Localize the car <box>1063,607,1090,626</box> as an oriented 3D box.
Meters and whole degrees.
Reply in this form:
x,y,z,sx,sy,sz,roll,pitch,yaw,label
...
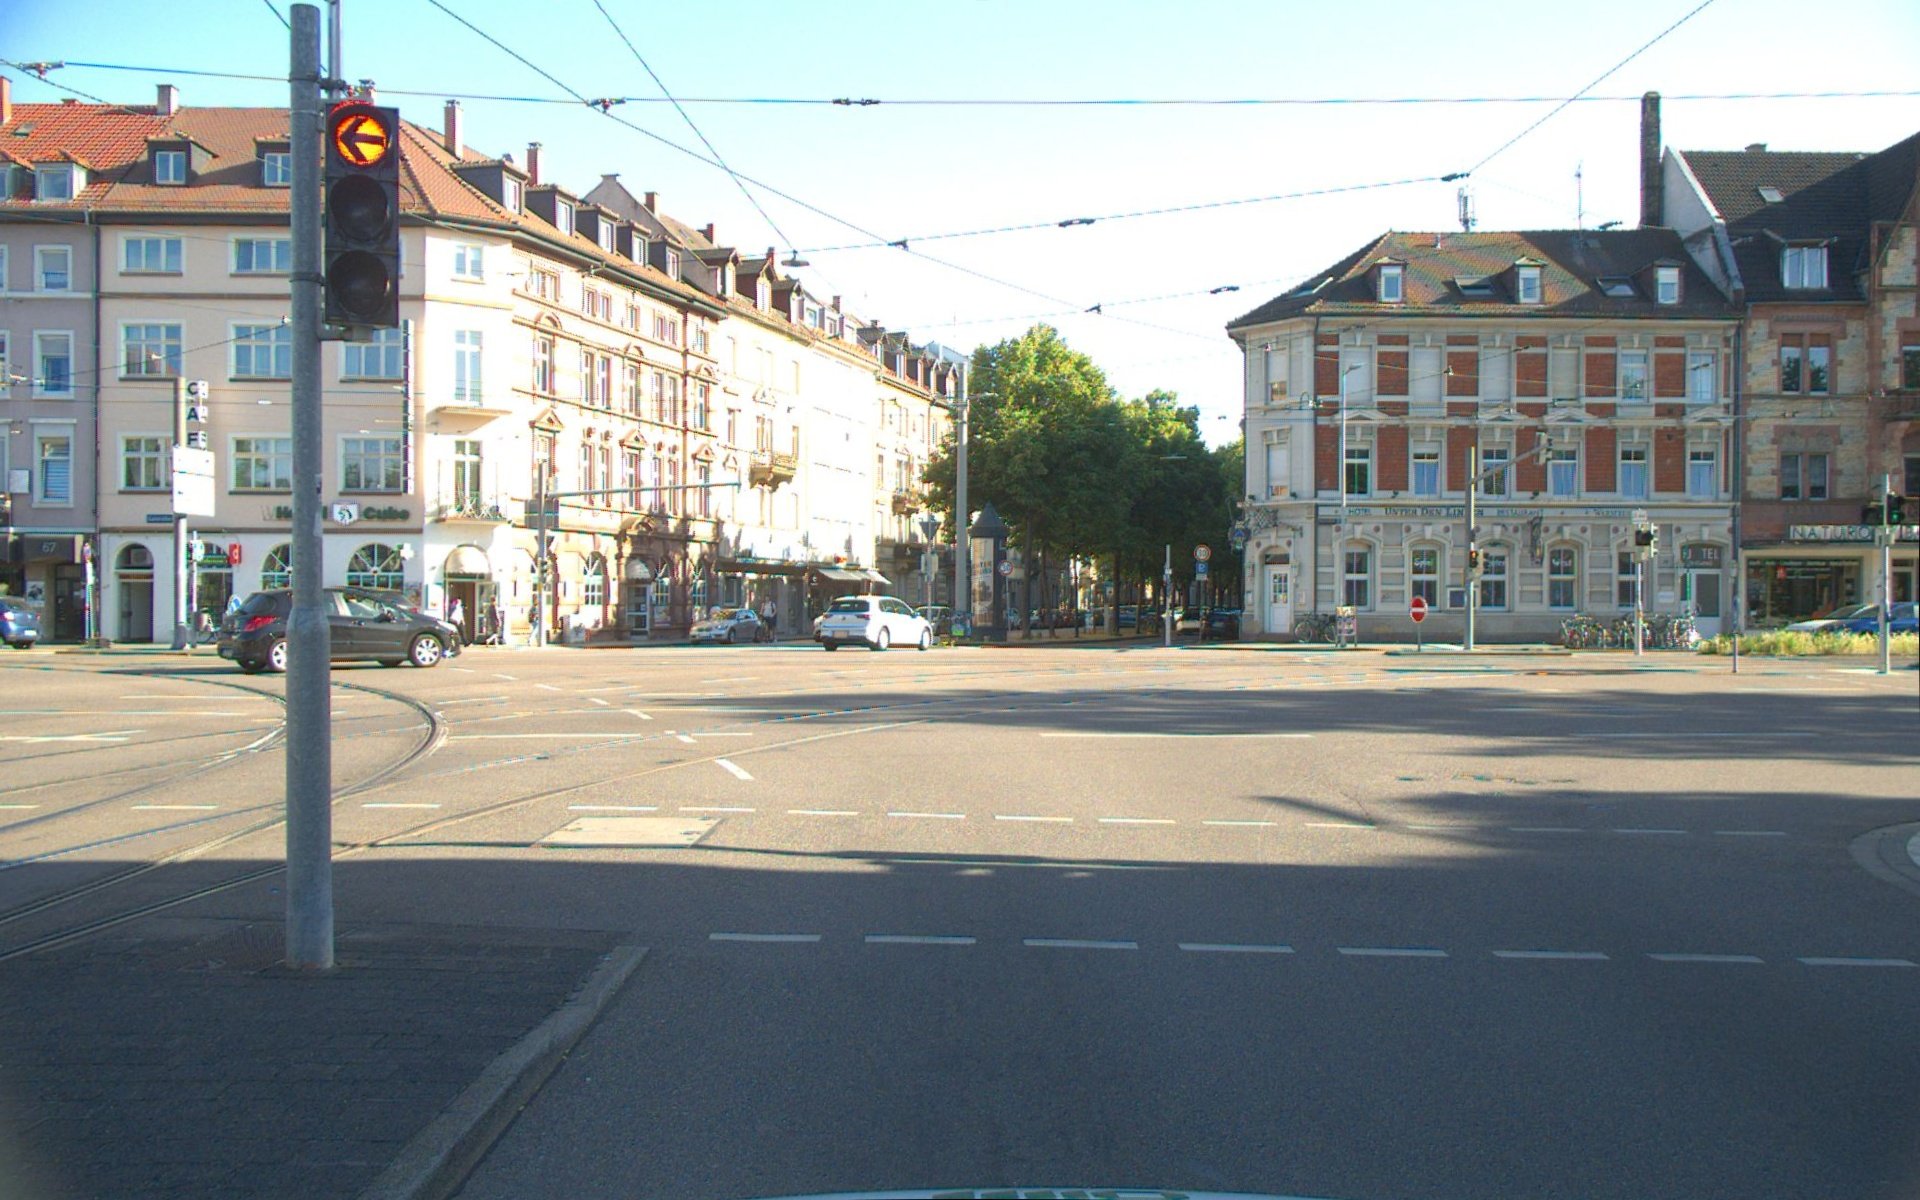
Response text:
x,y,z,sx,sy,sz,roll,pitch,yaw,label
9.621,1.372,136.440,1.526,1.540,3.658,1,0,16,car

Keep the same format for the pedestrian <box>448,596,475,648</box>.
x,y,z,sx,sy,sz,roll,pitch,yaw,label
-16.210,0.709,53.780,0.628,1.662,0.691,1,-1,-37,pedestrian

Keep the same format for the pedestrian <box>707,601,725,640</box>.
x,y,z,sx,sy,sz,roll,pitch,yaw,label
-10.547,0.872,71.471,0.532,1.660,0.707,1,-1,13,pedestrian

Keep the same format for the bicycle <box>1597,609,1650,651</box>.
x,y,z,sx,sy,sz,roll,pitch,yaw,label
21.305,0.938,53.149,0.615,1.309,2.661,1,0,0,bicycle

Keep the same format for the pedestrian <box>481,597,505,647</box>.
x,y,z,sx,sy,sz,roll,pitch,yaw,label
-15.687,0.725,55.561,0.620,1.662,0.700,1,-1,-4,pedestrian

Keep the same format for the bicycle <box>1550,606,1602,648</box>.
x,y,z,sx,sy,sz,roll,pitch,yaw,label
19.768,0.847,53.099,0.678,1.309,2.661,1,0,0,bicycle

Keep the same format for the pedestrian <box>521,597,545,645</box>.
x,y,z,sx,sy,sz,roll,pitch,yaw,label
-15.044,0.737,58.312,0.532,1.660,0.707,1,-1,13,pedestrian

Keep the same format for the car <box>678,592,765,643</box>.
x,y,z,sx,sy,sz,roll,pitch,yaw,label
-9.608,0.704,66.992,1.951,1.937,4.002,1,0,17,car

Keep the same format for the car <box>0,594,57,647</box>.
x,y,z,sx,sy,sz,roll,pitch,yaw,label
-27.051,0.529,44.951,3.910,1.400,1.997,1,0,-6,car

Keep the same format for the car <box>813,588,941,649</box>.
x,y,z,sx,sy,sz,roll,pitch,yaw,label
-2.192,0.496,44.778,1.737,1.557,3.996,1,0,26,car

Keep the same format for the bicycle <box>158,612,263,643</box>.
x,y,z,sx,sy,sz,roll,pitch,yaw,label
-25.518,0.939,56.350,3.066,0.997,1.001,1,0,-1,bicycle

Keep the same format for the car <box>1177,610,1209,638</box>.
x,y,z,sx,sy,sz,roll,pitch,yaw,label
13.878,1.398,98.332,1.655,1.592,3.844,1,0,11,car

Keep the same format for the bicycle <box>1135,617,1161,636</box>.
x,y,z,sx,sy,sz,roll,pitch,yaw,label
11.280,1.566,99.223,0.619,1.104,1.685,1,0,-31,bicycle

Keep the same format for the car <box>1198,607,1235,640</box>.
x,y,z,sx,sy,sz,roll,pitch,yaw,label
12.866,1.152,82.776,1.655,1.592,3.844,1,0,11,car

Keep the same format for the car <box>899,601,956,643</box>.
x,y,z,sx,sy,sz,roll,pitch,yaw,label
-1.537,1.063,79.652,1.951,1.937,4.003,1,0,11,car

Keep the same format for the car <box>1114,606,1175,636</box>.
x,y,z,sx,sy,sz,roll,pitch,yaw,label
12.849,1.457,115.152,3.902,1.937,2.001,1,0,15,car

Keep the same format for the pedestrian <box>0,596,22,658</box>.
x,y,z,sx,sy,sz,roll,pitch,yaw,label
-25.684,0.717,44.483,0.621,1.640,0.464,1,-1,-8,pedestrian

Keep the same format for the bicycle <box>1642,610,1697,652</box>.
x,y,z,sx,sy,sz,roll,pitch,yaw,label
22.798,0.977,53.176,0.615,1.309,2.661,1,0,0,bicycle

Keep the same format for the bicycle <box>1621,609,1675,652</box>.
x,y,z,sx,sy,sz,roll,pitch,yaw,label
22.083,0.966,53.152,0.615,1.309,2.661,1,0,0,bicycle

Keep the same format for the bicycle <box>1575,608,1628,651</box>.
x,y,z,sx,sy,sz,roll,pitch,yaw,label
20.595,0.929,53.128,0.678,1.309,2.661,1,0,0,bicycle

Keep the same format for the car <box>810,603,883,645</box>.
x,y,z,sx,sy,sz,roll,pitch,yaw,label
-4.591,0.961,67.460,1.951,1.646,4.003,1,0,11,car

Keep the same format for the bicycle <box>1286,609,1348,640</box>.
x,y,z,sx,sy,sz,roll,pitch,yaw,label
12.350,0.849,57.272,2.006,1.015,0.631,1,0,2,bicycle

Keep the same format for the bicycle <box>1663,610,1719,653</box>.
x,y,z,sx,sy,sz,roll,pitch,yaw,label
23.482,0.992,53.174,0.615,1.309,2.661,1,0,0,bicycle

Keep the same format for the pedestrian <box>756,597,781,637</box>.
x,y,z,sx,sy,sz,roll,pitch,yaw,label
-7.542,0.664,65.087,0.803,1.539,0.598,1,-1,14,pedestrian

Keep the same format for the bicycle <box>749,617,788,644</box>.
x,y,z,sx,sy,sz,roll,pitch,yaw,label
-7.531,1.203,65.158,0.746,1.025,2.398,1,0,13,bicycle

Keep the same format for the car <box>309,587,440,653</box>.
x,y,z,sx,sy,sz,roll,pitch,yaw,label
-15.446,0.492,43.528,1.935,1.646,4.119,1,0,-40,car

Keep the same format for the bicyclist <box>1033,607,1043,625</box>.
x,y,z,sx,sy,sz,roll,pitch,yaw,label
5.505,1.114,116.598,0.613,1.288,0.559,1,-1,15,bicyclist

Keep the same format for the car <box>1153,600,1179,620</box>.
x,y,z,sx,sy,sz,roll,pitch,yaw,label
16.819,0.826,134.957,1.526,1.540,3.658,1,0,16,car

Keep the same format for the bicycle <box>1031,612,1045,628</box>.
x,y,z,sx,sy,sz,roll,pitch,yaw,label
5.475,1.408,116.498,0.613,1.104,1.704,1,0,15,bicycle

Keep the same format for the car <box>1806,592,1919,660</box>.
x,y,z,sx,sy,sz,roll,pitch,yaw,label
25.931,0.731,46.051,3.706,1.809,1.999,1,0,-2,car

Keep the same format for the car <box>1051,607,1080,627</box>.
x,y,z,sx,sy,sz,roll,pitch,yaw,label
8.436,1.334,132.005,1.526,1.540,3.658,1,0,16,car

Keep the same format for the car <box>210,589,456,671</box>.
x,y,z,sx,sy,sz,roll,pitch,yaw,label
-11.364,0.530,30.112,3.823,1.386,1.732,1,0,-43,car

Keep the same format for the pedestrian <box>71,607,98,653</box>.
x,y,z,sx,sy,sz,roll,pitch,yaw,label
-28.442,0.969,53.723,0.620,1.502,0.465,1,-1,-5,pedestrian

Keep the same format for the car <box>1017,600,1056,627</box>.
x,y,z,sx,sy,sz,roll,pitch,yaw,label
5.671,1.011,122.526,1.951,1.937,4.002,1,0,16,car

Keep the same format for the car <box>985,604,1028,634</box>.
x,y,z,sx,sy,sz,roll,pitch,yaw,label
3.178,1.280,112.737,1.951,1.937,4.002,1,0,16,car
